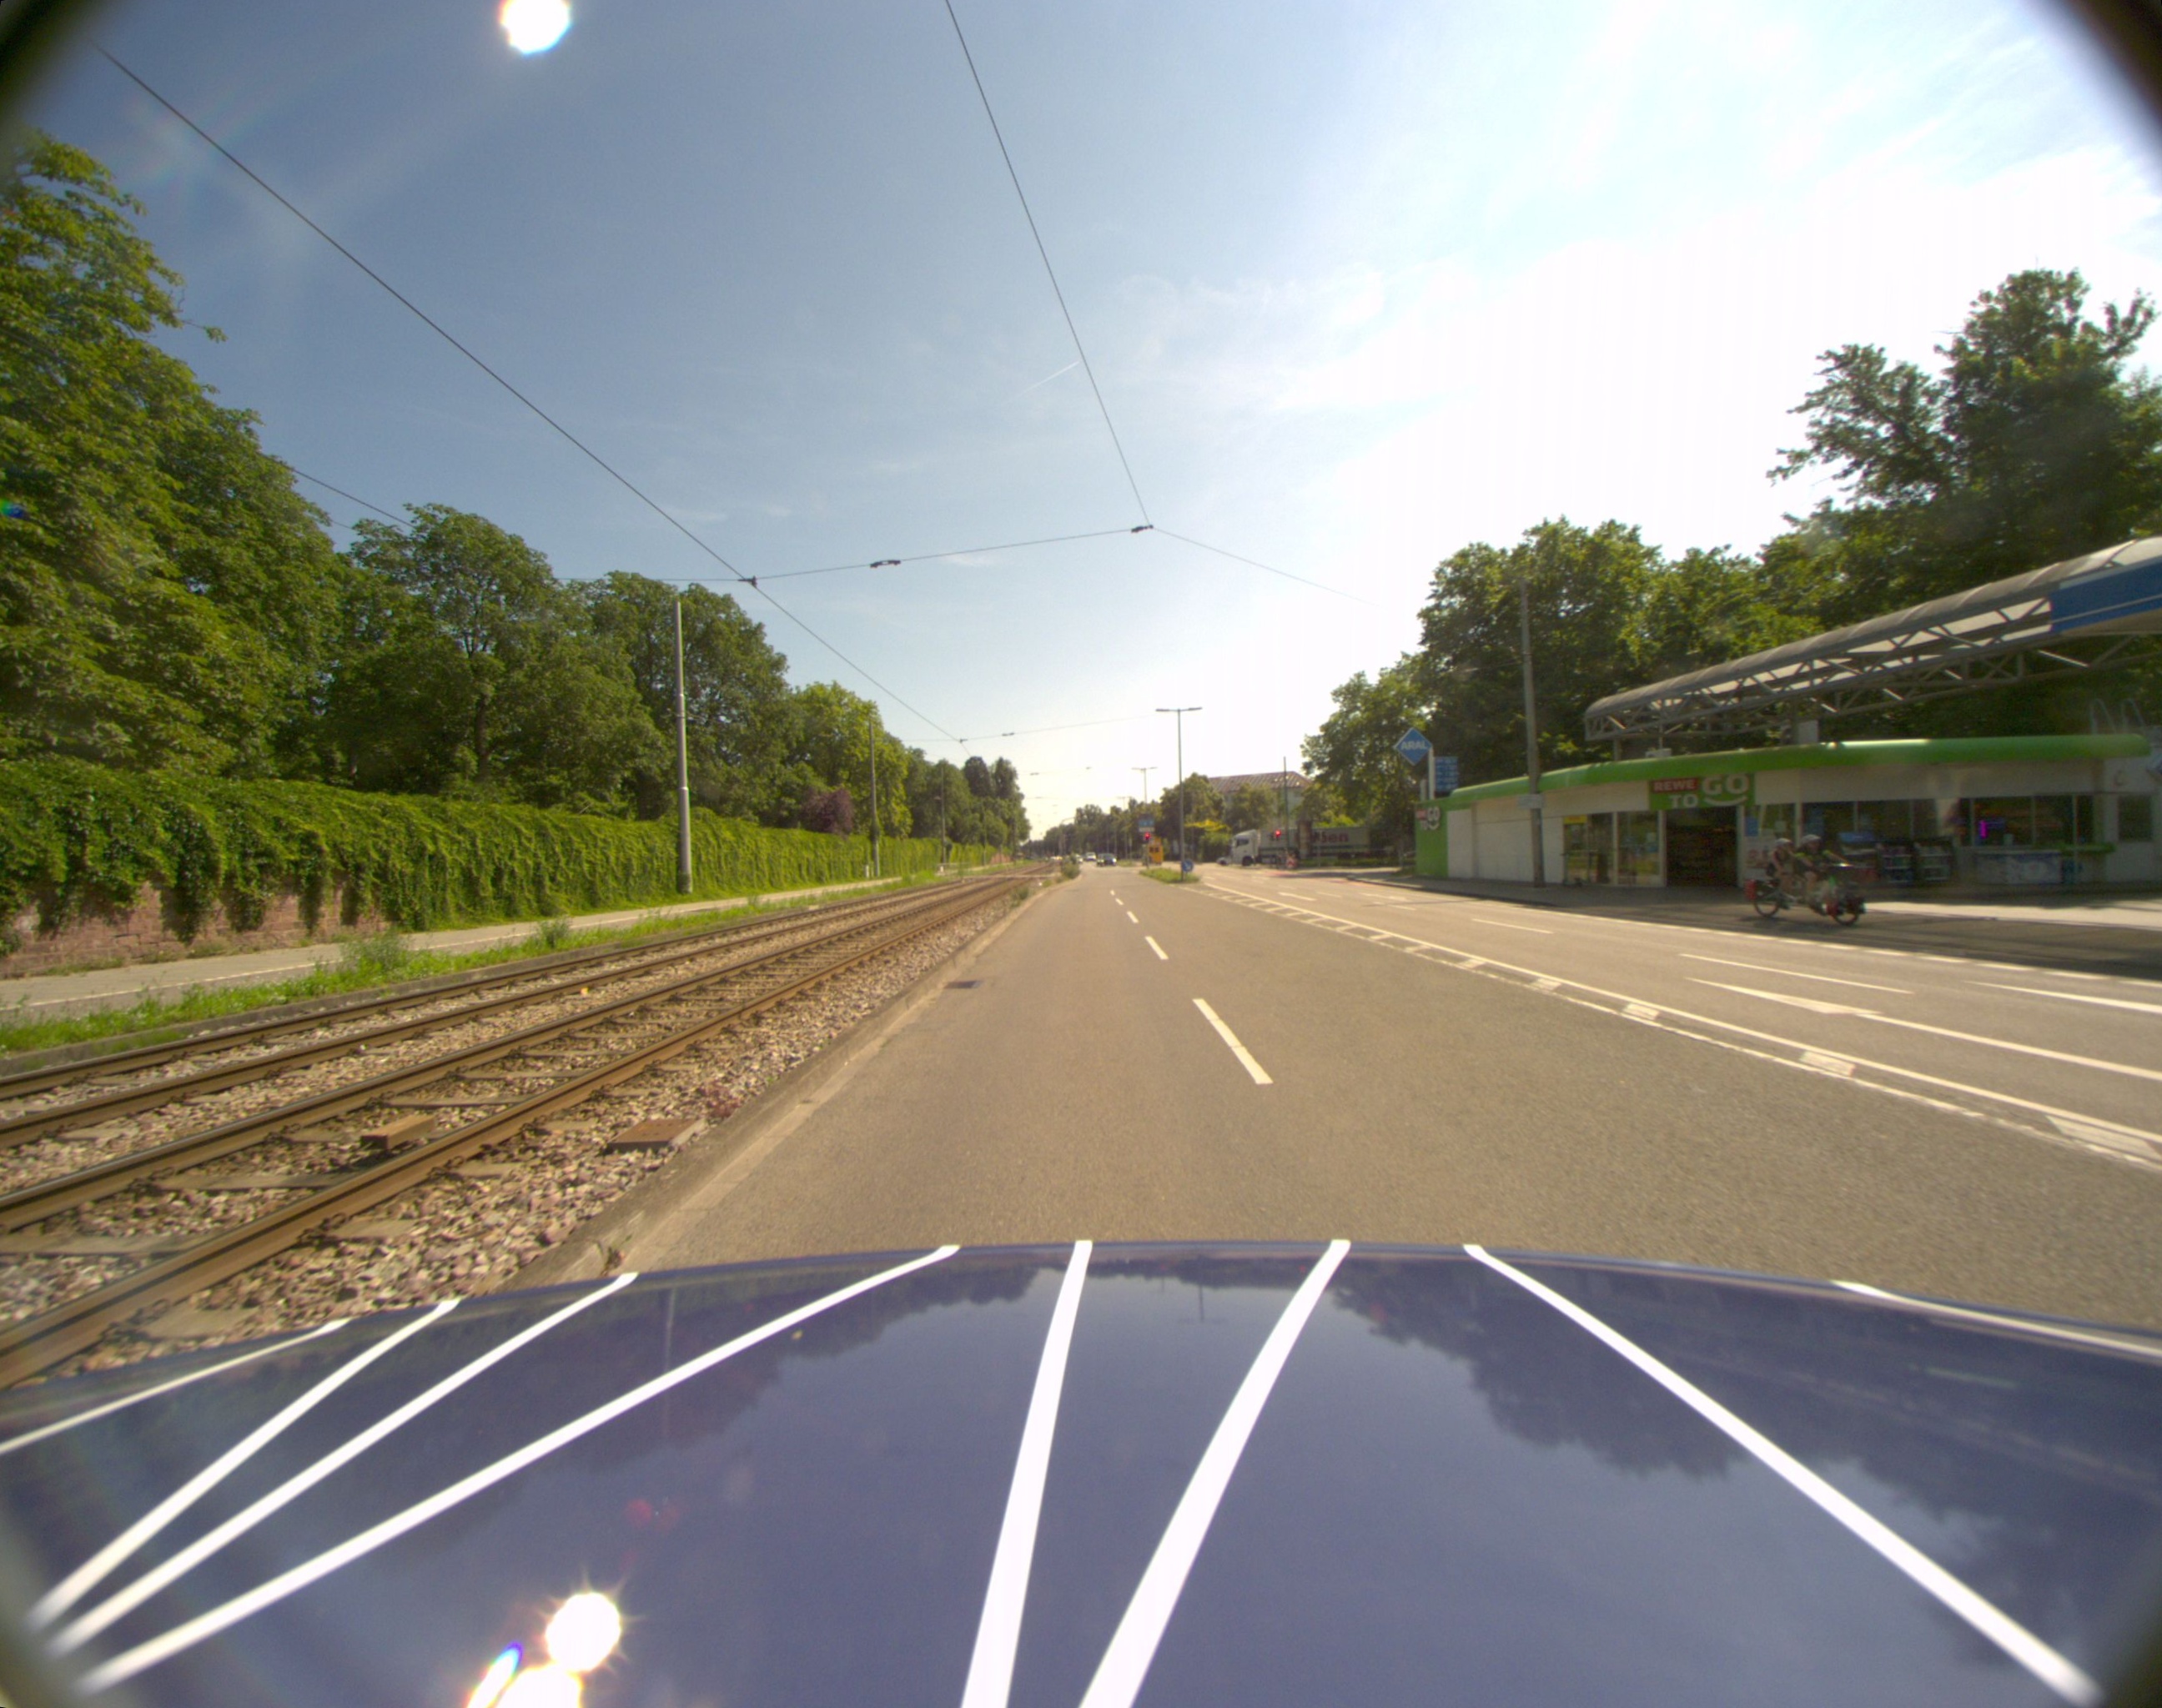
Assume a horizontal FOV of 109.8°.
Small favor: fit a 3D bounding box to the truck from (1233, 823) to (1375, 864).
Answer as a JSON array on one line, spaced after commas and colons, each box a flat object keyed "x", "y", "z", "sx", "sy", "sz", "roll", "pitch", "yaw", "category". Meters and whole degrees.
[{"x": 23.781, "y": -1.116, "z": 81.624, "sx": 14.286, "sy": 3.984, "sz": 2.856, "roll": -1, "pitch": 0, "yaw": 6, "category": "truck"}]

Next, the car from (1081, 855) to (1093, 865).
[{"x": 0.985, "y": 0.998, "z": 134.549, "sx": 1.931, "sy": 1.593, "sz": 4.468, "roll": -2, "pitch": 0, "yaw": -1, "category": "car"}]

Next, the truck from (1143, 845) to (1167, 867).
[{"x": 9.250, "y": 0.197, "z": 96.020, "sx": 2.336, "sy": 2.652, "sz": 7.359, "roll": -1, "pitch": 0, "yaw": 1, "category": "truck"}]

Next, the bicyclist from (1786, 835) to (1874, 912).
[{"x": 14.392, "y": 0.366, "z": 14.627, "sx": 0.849, "sy": 1.427, "sz": 0.833, "roll": -1, "pitch": 0, "yaw": 3, "category": "bicyclist"}]

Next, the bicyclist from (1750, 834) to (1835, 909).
[{"x": 14.433, "y": 0.350, "z": 15.440, "sx": 0.849, "sy": 1.427, "sz": 0.833, "roll": -4, "pitch": -1, "yaw": 3, "category": "bicyclist"}]

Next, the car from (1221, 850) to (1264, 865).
[{"x": 18.451, "y": 0.415, "z": 86.995, "sx": 4.386, "sy": 1.501, "sz": 1.760, "roll": -3, "pitch": -1, "yaw": 32, "category": "car"}]

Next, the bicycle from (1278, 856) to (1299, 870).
[{"x": 15.763, "y": 0.683, "z": 57.760, "sx": 0.753, "sy": 1.051, "sz": 2.074, "roll": -2, "pitch": 0, "yaw": -8, "category": "bicycle"}]

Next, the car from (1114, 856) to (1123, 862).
[{"x": 9.378, "y": 1.185, "z": 189.617, "sx": 1.755, "sy": 1.573, "sz": 4.504, "roll": 0, "pitch": 0, "yaw": -2, "category": "car"}]

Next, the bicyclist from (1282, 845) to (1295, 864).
[{"x": 15.729, "y": 0.050, "z": 57.574, "sx": 0.710, "sy": 1.412, "sz": 0.739, "roll": -2, "pitch": -1, "yaw": -8, "category": "bicyclist"}]

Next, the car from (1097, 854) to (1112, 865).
[{"x": 3.178, "y": 0.750, "z": 105.128, "sx": 1.755, "sy": 1.573, "sz": 4.505, "roll": -1, "pitch": 0, "yaw": -2, "category": "car"}]

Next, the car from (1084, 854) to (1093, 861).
[{"x": 1.898, "y": 0.783, "z": 187.944, "sx": 1.931, "sy": 1.593, "sz": 4.467, "roll": -2, "pitch": 0, "yaw": -3, "category": "car"}]

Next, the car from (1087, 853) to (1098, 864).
[{"x": 2.495, "y": 0.957, "z": 166.388, "sx": 2.265, "sy": 2.336, "sz": 5.229, "roll": -2, "pitch": 0, "yaw": -2, "category": "car"}]

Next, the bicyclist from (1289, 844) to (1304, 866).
[{"x": 16.825, "y": 0.061, "z": 59.374, "sx": 0.837, "sy": 1.664, "sz": 0.827, "roll": -2, "pitch": -1, "yaw": 0, "category": "bicyclist"}]

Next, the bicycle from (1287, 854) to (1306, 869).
[{"x": 16.853, "y": 0.596, "z": 59.529, "sx": 0.939, "sy": 1.168, "sz": 2.211, "roll": -1, "pitch": 0, "yaw": 2, "category": "bicycle"}]

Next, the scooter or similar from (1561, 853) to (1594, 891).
[{"x": 16.703, "y": 0.581, "z": 25.595, "sx": 0.442, "sy": 1.230, "sz": 1.346, "roll": -1, "pitch": 0, "yaw": 10, "category": "scooter or similar"}]

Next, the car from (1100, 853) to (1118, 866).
[{"x": 3.525, "y": 0.745, "z": 96.208, "sx": 1.756, "sy": 1.573, "sz": 4.503, "roll": -1, "pitch": 0, "yaw": -5, "category": "car"}]

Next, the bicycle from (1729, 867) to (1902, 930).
[{"x": 14.414, "y": 0.823, "z": 15.072, "sx": 0.827, "sy": 1.088, "sz": 2.773, "roll": -3, "pitch": -1, "yaw": 3, "category": "bicycle"}]

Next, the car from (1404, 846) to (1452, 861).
[{"x": 37.975, "y": -0.042, "z": 83.222, "sx": 4.365, "sy": 1.360, "sz": 1.758, "roll": -2, "pitch": -1, "yaw": 9, "category": "car"}]
